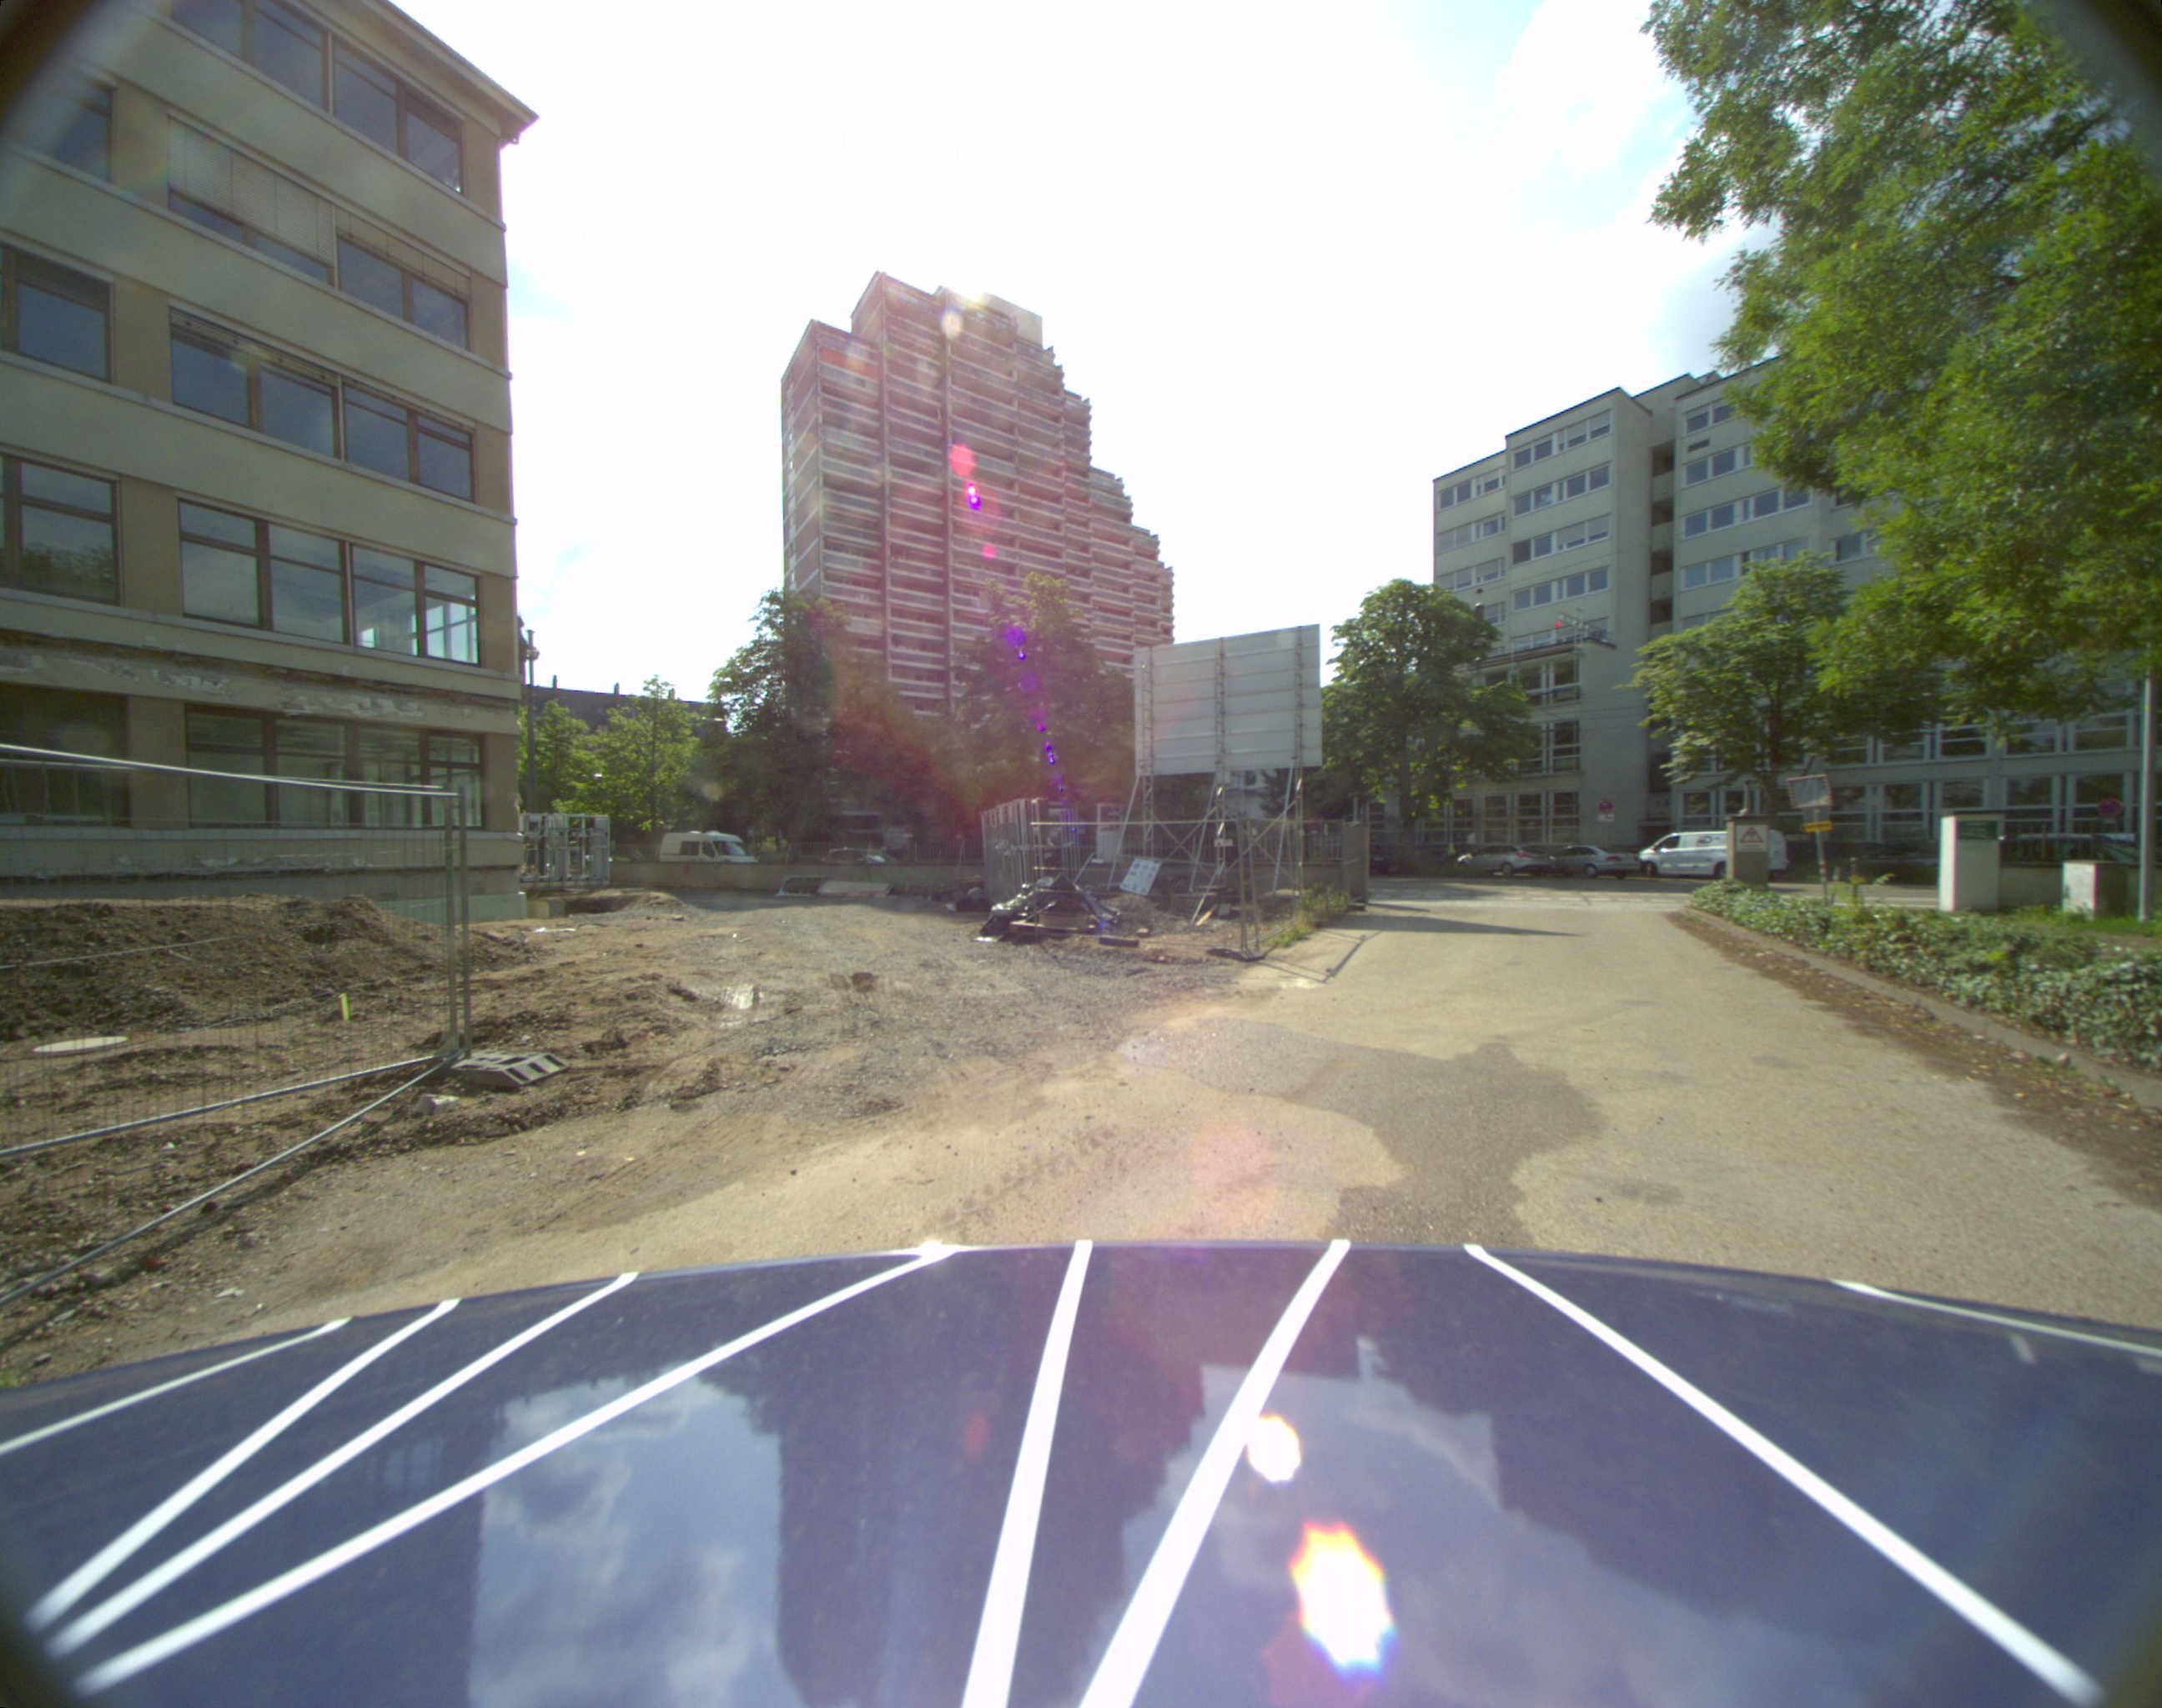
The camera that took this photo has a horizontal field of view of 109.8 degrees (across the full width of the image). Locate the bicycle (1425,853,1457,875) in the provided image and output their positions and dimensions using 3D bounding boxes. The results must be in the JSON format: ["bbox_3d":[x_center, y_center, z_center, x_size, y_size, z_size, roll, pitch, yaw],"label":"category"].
[{"bbox_3d":[20.035,0.547,42.230,2.059,1.080,0.496,-5,1,-32],"label":"bicycle"}]

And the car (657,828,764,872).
[{"bbox_3d":[-17.936,-0.155,36.755,5.294,2.002,2.004,-1,1,30],"label":"car"}]

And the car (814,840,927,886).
[{"bbox_3d":[-8.806,0.365,31.751,4.543,1.819,1.861,-1,1,30],"label":"car"}]

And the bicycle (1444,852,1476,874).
[{"bbox_3d":[20.857,0.490,41.764,2.059,1.080,0.496,-5,1,-32],"label":"bicycle"}]

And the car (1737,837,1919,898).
[{"bbox_3d":[28.089,0.444,28.817,1.904,1.986,4.567,-5,2,-12],"label":"car"}]

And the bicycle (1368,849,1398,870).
[{"bbox_3d":[17.978,0.335,45.218,2.059,1.080,0.496,-5,1,-32],"label":"bicycle"}]

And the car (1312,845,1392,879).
[{"bbox_3d":[13.397,0.399,37.813,1.760,1.454,3.996,-5,0,-13],"label":"car"}]

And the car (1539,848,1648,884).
[{"bbox_3d":[22.255,0.487,33.153,1.726,1.467,3.779,0,0,-14],"label":"car"}]

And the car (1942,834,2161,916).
[{"bbox_3d":[20.942,0.420,15.856,3.574,1.602,1.683,1,0,29],"label":"car"}]

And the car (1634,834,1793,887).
[{"bbox_3d":[25.282,0.223,30.622,1.933,1.901,4.636,2,0,-12],"label":"car"}]

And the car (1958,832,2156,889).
[{"bbox_3d":[33.812,0.244,26.469,1.884,1.702,3.754,-5,0,-17],"label":"car"}]

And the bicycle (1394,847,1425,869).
[{"bbox_3d":[19.016,0.233,43.926,2.059,1.080,0.496,-5,1,-32],"label":"bicycle"}]

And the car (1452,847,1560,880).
[{"bbox_3d":[19.419,0.466,34.922,1.784,1.455,4.230,1,-1,-18],"label":"car"}]
